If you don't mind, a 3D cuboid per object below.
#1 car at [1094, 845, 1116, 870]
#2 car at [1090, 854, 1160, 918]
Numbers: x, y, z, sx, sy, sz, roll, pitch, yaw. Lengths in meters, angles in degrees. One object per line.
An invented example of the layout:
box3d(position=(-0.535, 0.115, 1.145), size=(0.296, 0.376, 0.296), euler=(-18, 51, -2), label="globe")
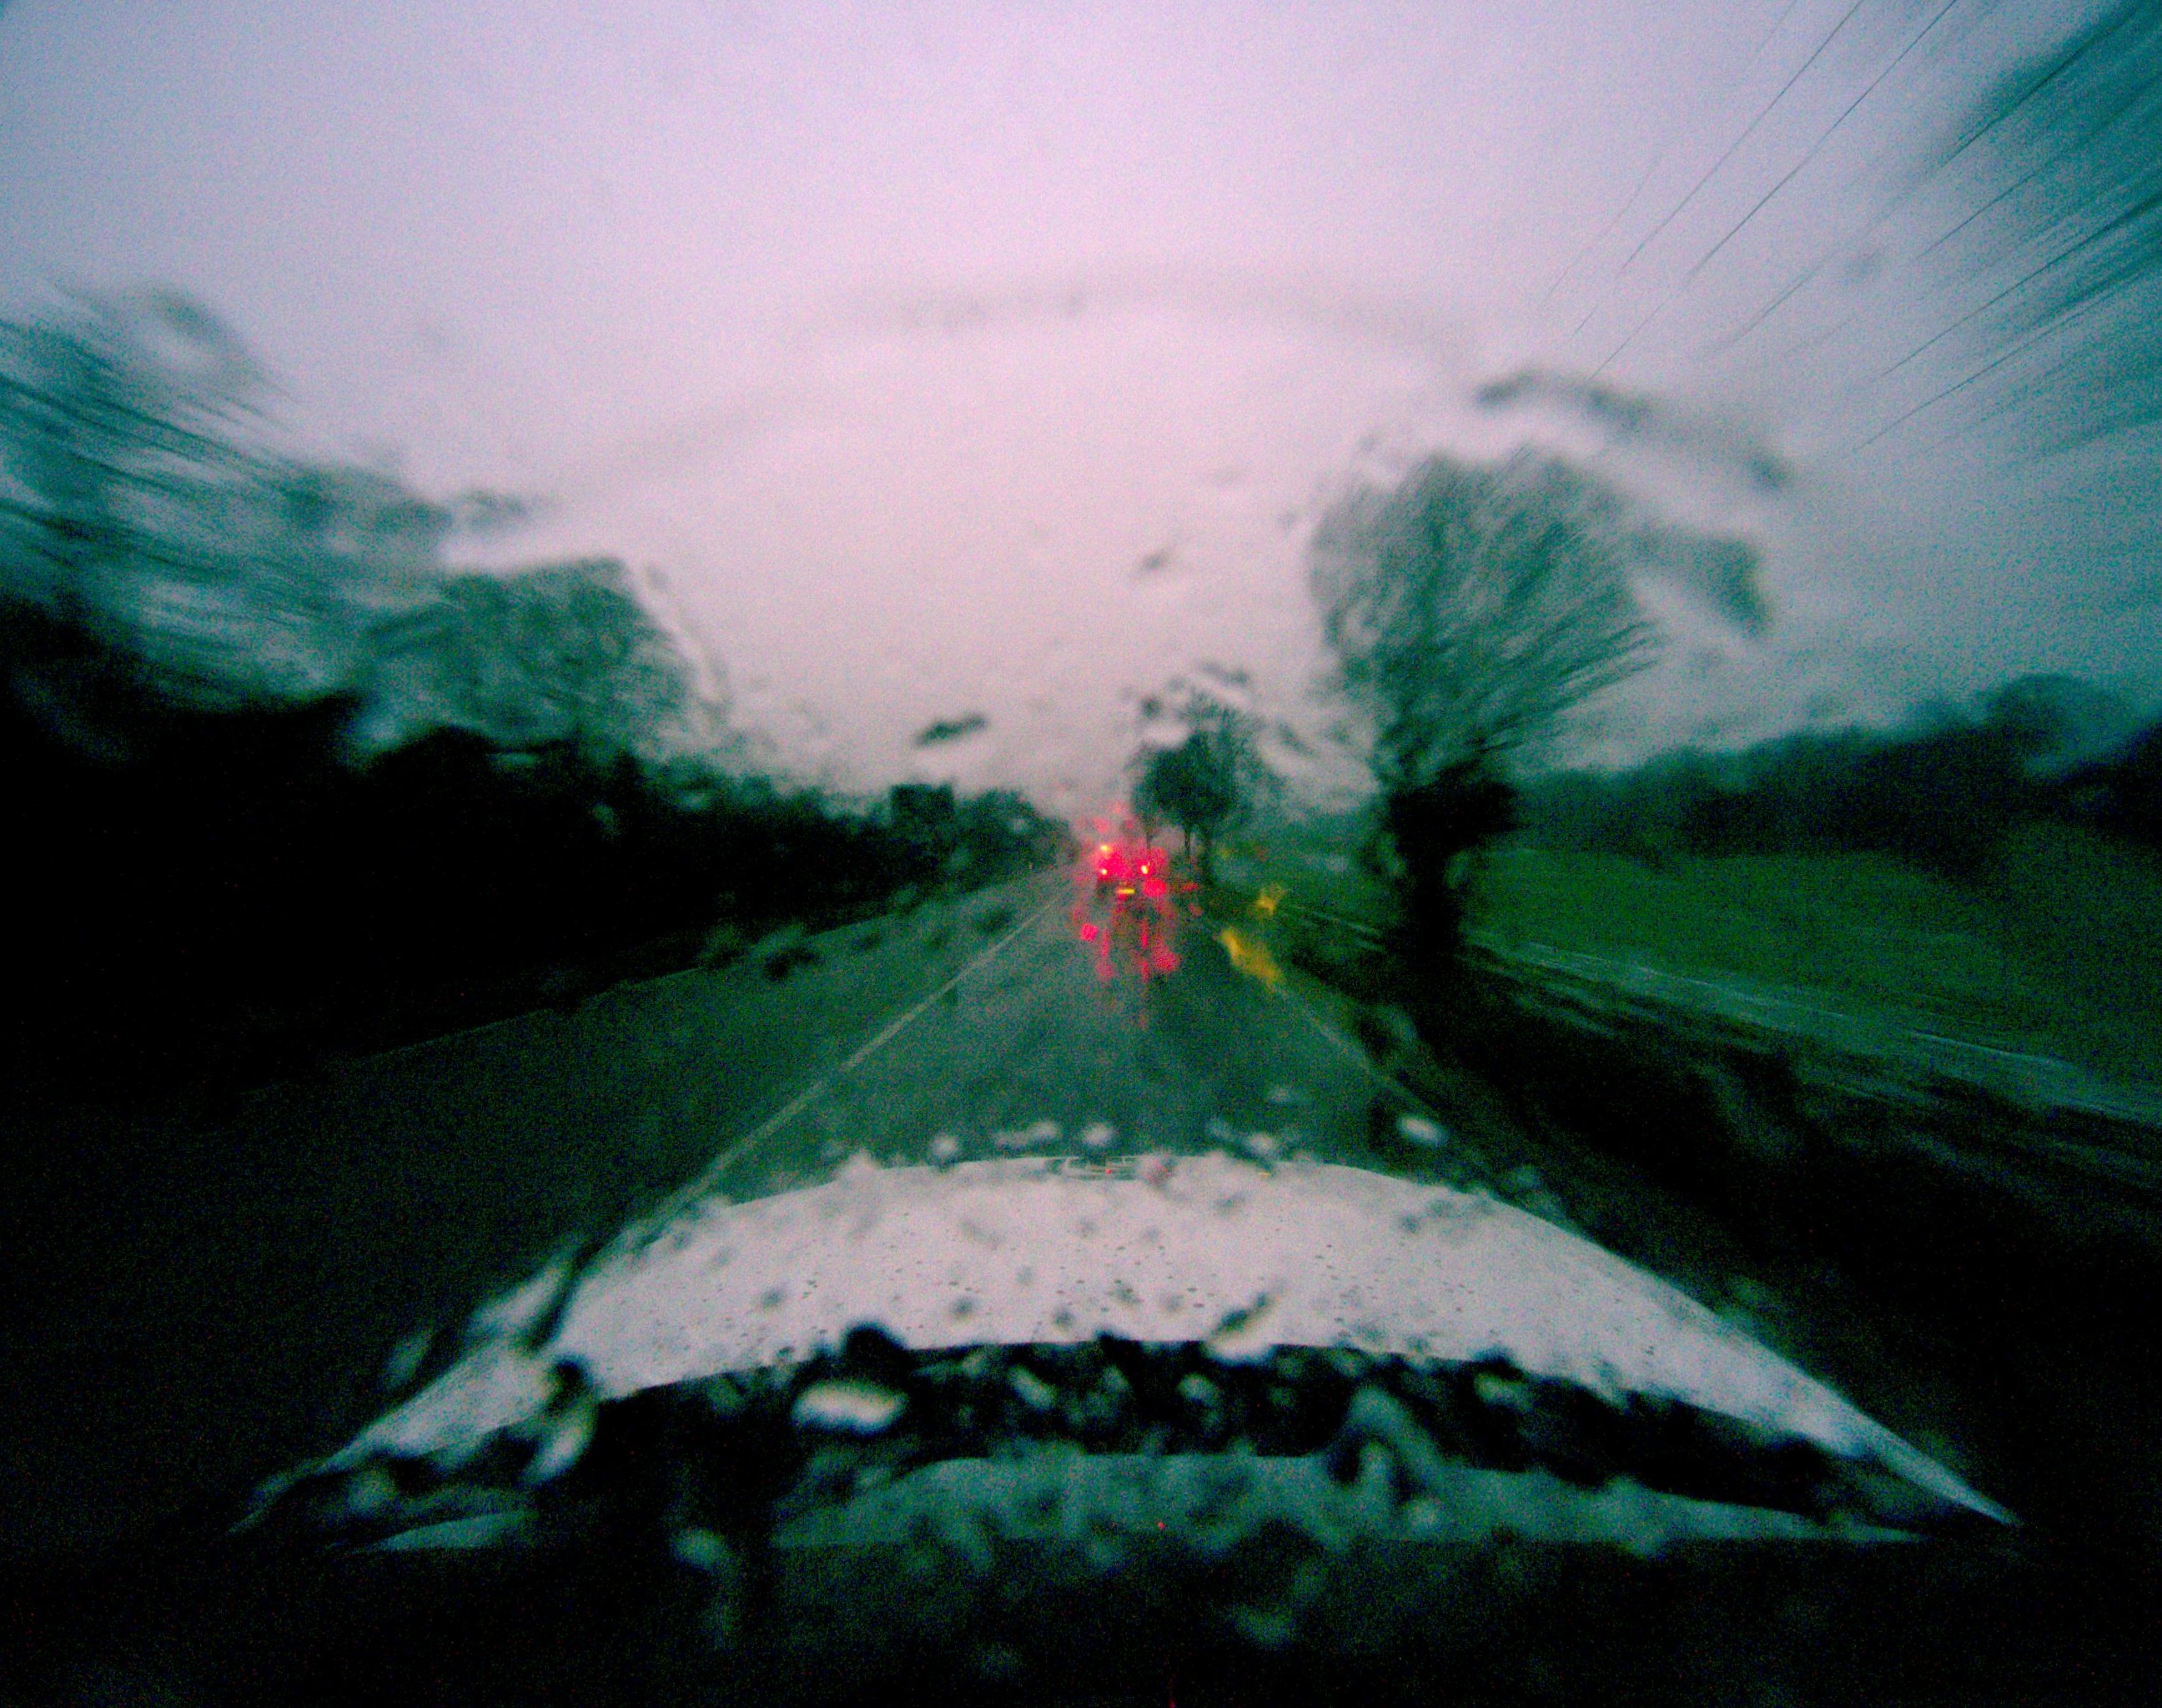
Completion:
box3d(position=(2.411, 0.338, 80.895), size=(1.985, 2.012, 4.006), euler=(3, 5, 4), label="car")
box3d(position=(1.369, 0.924, 25.496), size=(1.985, 1.752, 4.003), euler=(-1, 0, 3), label="car")
